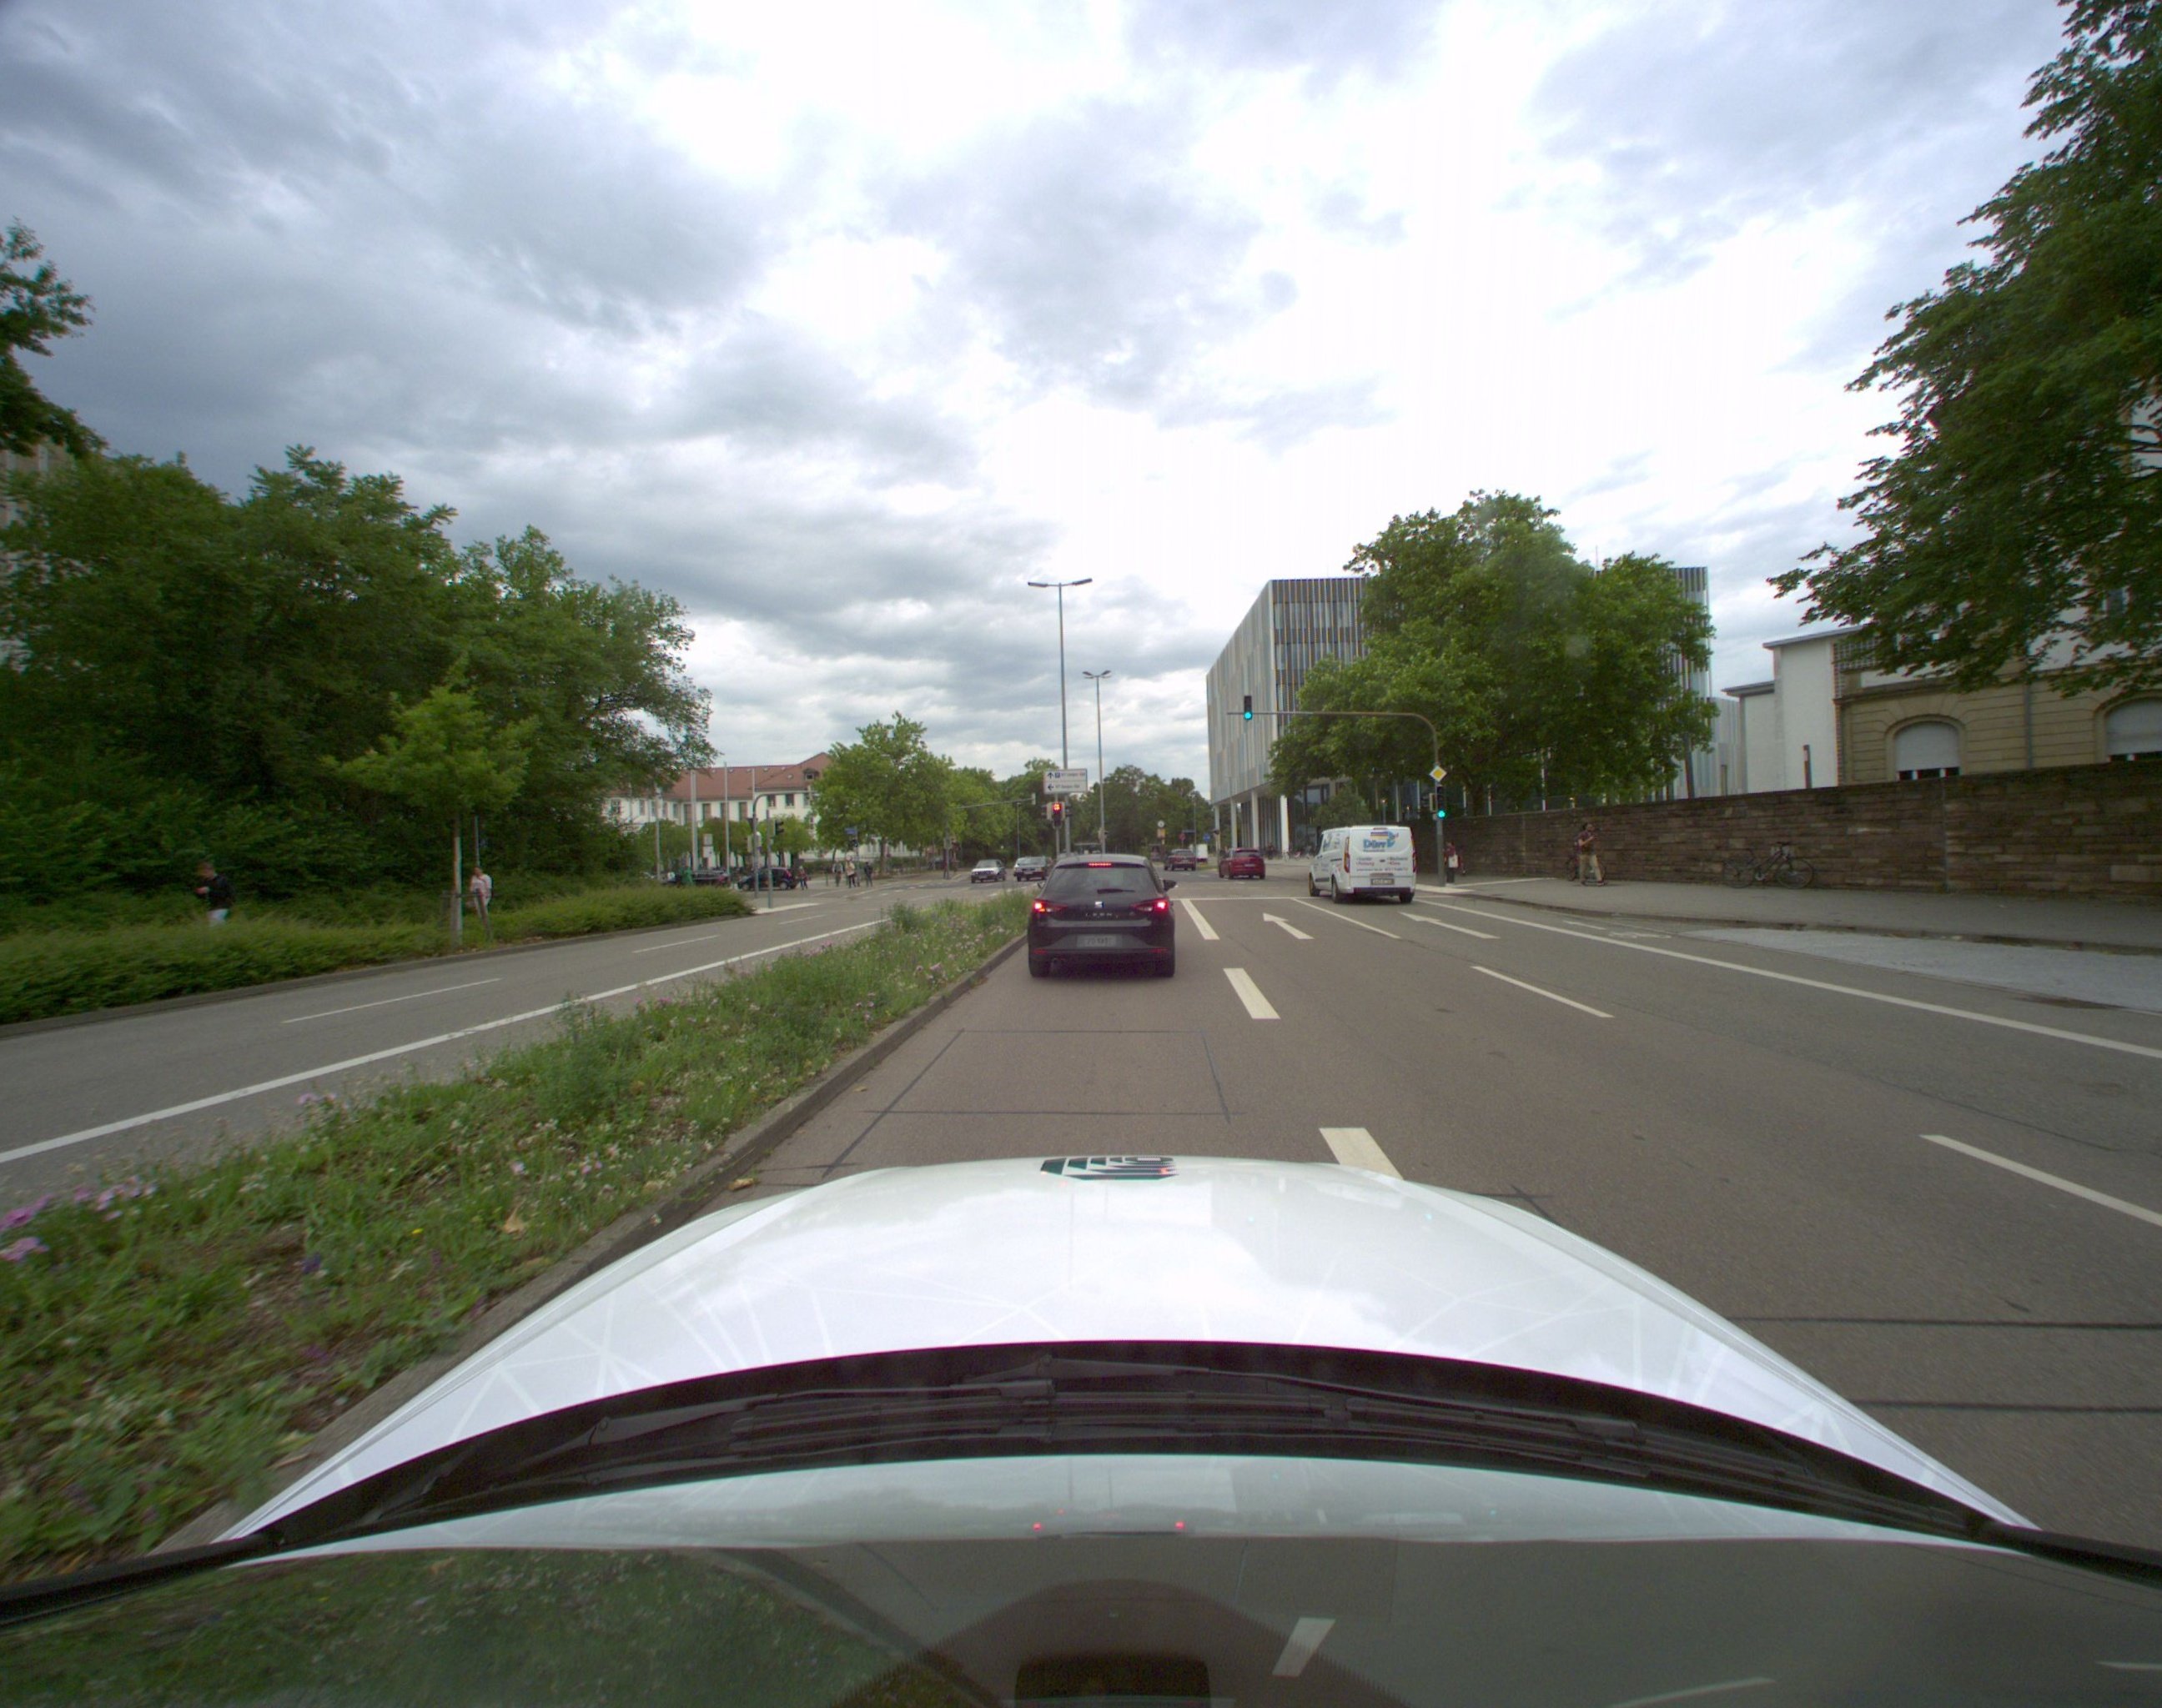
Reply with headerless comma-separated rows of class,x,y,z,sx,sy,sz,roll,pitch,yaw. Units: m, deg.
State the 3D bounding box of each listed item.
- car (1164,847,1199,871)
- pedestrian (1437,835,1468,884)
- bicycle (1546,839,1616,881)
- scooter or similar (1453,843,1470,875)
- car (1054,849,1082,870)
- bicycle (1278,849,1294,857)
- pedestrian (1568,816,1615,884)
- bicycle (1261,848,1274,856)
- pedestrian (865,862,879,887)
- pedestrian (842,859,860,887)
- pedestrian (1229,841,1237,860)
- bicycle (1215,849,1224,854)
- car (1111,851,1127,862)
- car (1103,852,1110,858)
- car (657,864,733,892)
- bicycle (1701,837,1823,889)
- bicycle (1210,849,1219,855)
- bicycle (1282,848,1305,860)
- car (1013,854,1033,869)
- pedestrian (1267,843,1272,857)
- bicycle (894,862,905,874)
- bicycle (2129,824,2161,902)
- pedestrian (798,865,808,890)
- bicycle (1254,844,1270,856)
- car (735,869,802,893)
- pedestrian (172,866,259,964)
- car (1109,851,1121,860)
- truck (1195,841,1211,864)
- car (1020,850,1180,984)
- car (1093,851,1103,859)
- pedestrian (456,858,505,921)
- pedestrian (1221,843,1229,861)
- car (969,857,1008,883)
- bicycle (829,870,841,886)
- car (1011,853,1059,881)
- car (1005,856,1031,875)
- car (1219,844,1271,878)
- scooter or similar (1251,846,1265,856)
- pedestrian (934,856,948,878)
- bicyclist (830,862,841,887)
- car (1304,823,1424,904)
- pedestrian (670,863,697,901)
car,7.836,0.361,64.065,1.911,1.664,4.109,-4,1,-4
pedestrian,12.628,0.178,27.694,0.657,1.561,0.637,-6,0,4
bicycle,15.031,0.162,24.549,0.800,1.174,1.954,-5,0,-1
scooter or similar,14.891,0.180,31.828,0.428,1.179,1.714,-4,0,29
car,-1.051,0.466,70.138,1.912,1.664,4.404,-4,0,4
bicycle,21.333,-0.081,84.898,1.474,0.748,0.566,-4,0,0
pedestrian,14.293,-0.121,22.820,0.628,1.821,1.034,-3,0,4
bicycle,20.913,-0.217,91.292,1.444,0.857,0.362,-4,0,-23
pedestrian,-13.363,1.293,51.991,0.791,1.558,0.695,-2,-3,-16
pedestrian,-14.763,1.230,52.304,0.845,1.740,0.822,-1,-5,-31
pedestrian,14.554,-0.306,78.079,0.684,1.781,0.678,-2,0,4
bicycle,20.776,-0.378,122.251,1.238,0.823,0.479,0,-1,-18
car,5.071,0.349,109.046,1.892,1.354,3.883,-3,1,1
car,5.286,0.195,169.496,1.500,1.193,3.164,-3,1,1
car,-24.864,1.527,52.555,4.055,1.452,1.616,-3,6,-14
bicycle,15.626,0.194,18.756,0.940,1.073,1.962,-4,0,-11
bicycle,20.312,-0.313,124.297,1.261,0.848,0.479,1,-1,-18
bicycle,18.678,-0.020,71.545,1.891,0.898,0.693,-4,0,-17
car,-7.357,0.993,103.759,1.898,1.716,4.005,-3,1,4
pedestrian,19.447,-0.428,84.082,0.469,1.361,0.447,-3,0,14
bicycle,-17.223,1.281,77.357,0.606,1.060,2.043,-3,0,-2
bicycle,16.510,0.120,11.492,0.848,1.127,1.916,-4,0,-11
pedestrian,-17.803,1.505,52.139,0.572,1.526,0.843,-2,-4,-19
bicycle,20.701,-0.463,93.020,1.783,1.211,0.564,-4,0,-30
car,-20.405,1.727,53.261,3.646,1.223,1.563,-2,7,-2
pedestrian,-16.199,1.119,15.262,0.617,1.729,0.819,-3,0,4
car,5.213,0.210,126.048,1.610,1.354,4.001,-3,1,1
truck,12.333,-0.149,82.458,1.312,2.243,3.405,-3,0,4
car,0.420,0.683,10.813,1.744,1.432,3.776,-1,0,7
car,3.267,0.206,158.294,1.691,1.503,4.006,-4,1,-2
pedestrian,-16.133,0.943,21.895,0.697,1.636,0.672,-3,0,4
pedestrian,13.786,-0.191,78.133,0.684,1.639,0.633,-1,0,4
car,-5.675,0.943,50.120,1.600,1.381,3.813,-3,1,4
bicycle,-16.260,1.590,53.828,0.667,1.062,1.611,0,-1,-15
car,-2.684,0.733,48.805,1.753,1.460,4.804,-4,-1,9
car,-5.154,0.916,66.866,1.699,1.431,4.228,-3,1,1
car,8.383,0.321,41.952,1.943,1.624,3.749,-1,1,0
scooter or similar,20.342,-0.330,93.625,1.680,1.106,0.494,-4,0,-28
pedestrian,-10.849,1.015,63.101,0.872,1.586,0.543,-3,0,-3
bicyclist,-16.264,1.347,53.898,0.667,1.635,0.956,0,-1,-15
car,7.520,0.209,22.102,1.958,1.972,4.348,0,0,3
pedestrian,-18.694,1.302,38.294,0.948,1.759,0.865,0,-1,-40
